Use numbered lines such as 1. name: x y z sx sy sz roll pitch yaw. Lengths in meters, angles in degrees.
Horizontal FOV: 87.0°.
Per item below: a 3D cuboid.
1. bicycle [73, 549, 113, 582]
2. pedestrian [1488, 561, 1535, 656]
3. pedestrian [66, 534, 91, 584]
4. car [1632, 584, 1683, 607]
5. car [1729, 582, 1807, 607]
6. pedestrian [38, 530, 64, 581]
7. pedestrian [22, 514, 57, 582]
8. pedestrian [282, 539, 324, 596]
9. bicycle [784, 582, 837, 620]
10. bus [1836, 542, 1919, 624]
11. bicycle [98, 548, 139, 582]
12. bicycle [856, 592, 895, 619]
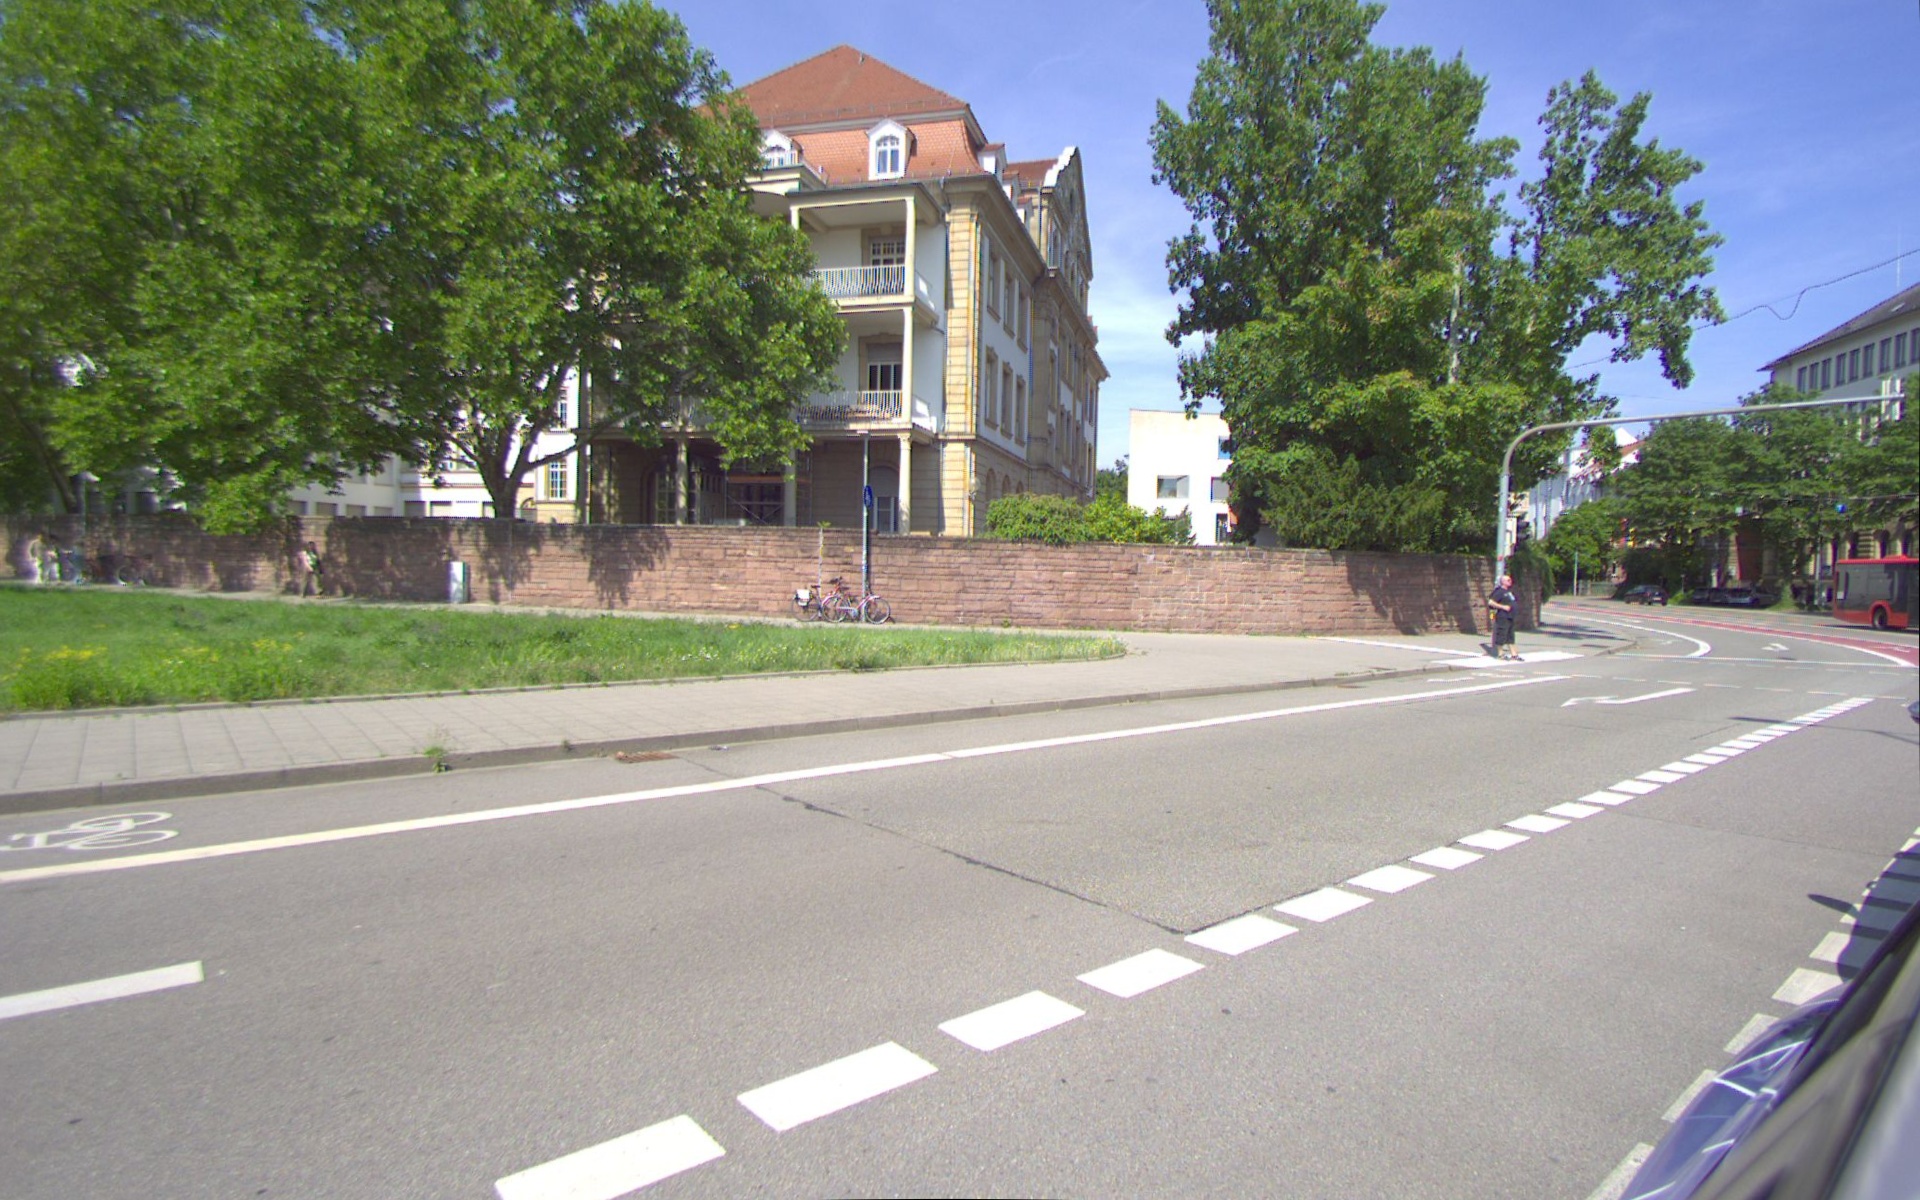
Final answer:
1. bicycle: -28.876 -1.140 33.690 1.432 1.046 0.444 3 2 24
2. pedestrian: 12.167 0.170 22.309 0.790 2.038 0.608 2 1 35
3. pedestrian: -28.426 -1.336 32.629 0.700 1.597 0.516 3 3 41
4. car: 51.549 -0.342 74.901 1.973 1.638 3.978 0 0 17
5. car: 59.529 -0.405 74.653 3.941 1.682 1.993 0 3 14
6. pedestrian: -28.768 -1.404 32.029 0.700 1.597 0.516 3 3 41
7. pedestrian: -28.063 -1.594 30.858 0.586 2.038 0.522 1 2 9
8. pedestrian: -18.466 -0.917 28.451 0.900 1.567 0.501 2 2 13
9. bicycle: -3.639 0.023 24.638 1.202 0.894 0.395 1 2 -21
10. bus: 38.195 -0.640 37.732 3.087 3.133 12.358 0 1 14
11. bicycle: -27.520 -1.152 33.089 1.432 1.046 0.444 3 2 24
12. bicycle: -2.090 0.134 25.027 0.929 0.609 0.275 2 2 -2
